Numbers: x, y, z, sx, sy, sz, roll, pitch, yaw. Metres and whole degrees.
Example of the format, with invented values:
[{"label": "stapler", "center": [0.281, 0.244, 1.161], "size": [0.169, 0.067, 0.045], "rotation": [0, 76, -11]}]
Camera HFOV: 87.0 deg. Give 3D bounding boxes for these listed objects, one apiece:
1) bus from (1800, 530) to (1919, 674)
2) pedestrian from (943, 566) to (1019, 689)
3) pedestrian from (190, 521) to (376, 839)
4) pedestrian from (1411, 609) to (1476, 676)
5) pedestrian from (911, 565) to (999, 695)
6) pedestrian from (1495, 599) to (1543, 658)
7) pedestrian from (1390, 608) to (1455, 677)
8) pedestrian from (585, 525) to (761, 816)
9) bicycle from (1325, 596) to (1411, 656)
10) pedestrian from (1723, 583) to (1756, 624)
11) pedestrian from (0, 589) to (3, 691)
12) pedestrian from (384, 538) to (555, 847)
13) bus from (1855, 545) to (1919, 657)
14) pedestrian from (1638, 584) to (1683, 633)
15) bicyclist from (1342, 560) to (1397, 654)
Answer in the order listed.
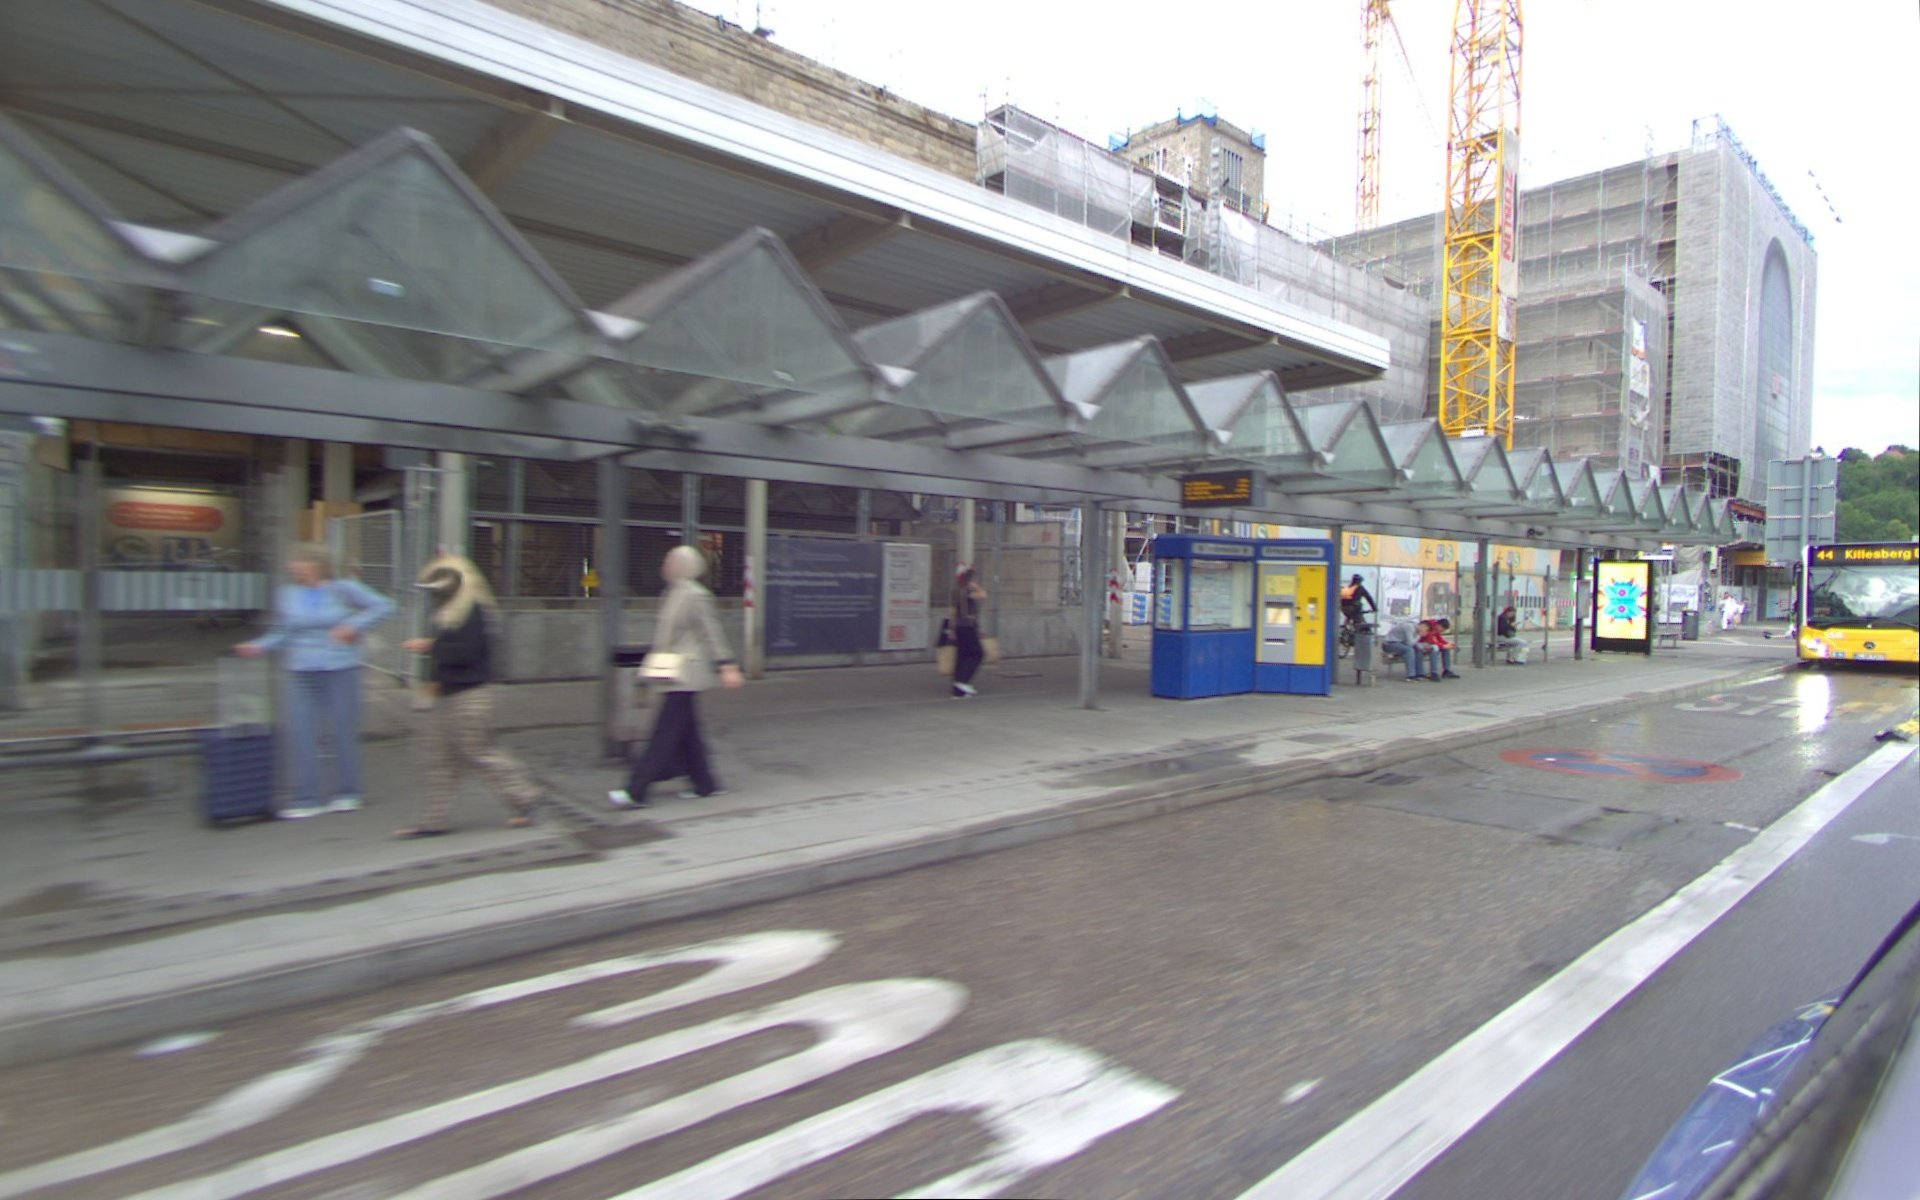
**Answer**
[{"label": "bus", "center": [23.585, 0.018, 25.297], "size": [8.839, 3.104, 2.759], "rotation": [0, 1, -42]}, {"label": "pedestrian", "center": [0.288, 0.357, 14.012], "size": [0.717, 1.627, 0.708], "rotation": [1, 2, -41]}, {"label": "pedestrian", "center": [-3.963, 0.420, 5.918], "size": [0.790, 1.681, 0.809], "rotation": [1, 0, -41]}, {"label": "pedestrian", "center": [8.255, 0.707, 17.270], "size": [0.794, 1.078, 0.729], "rotation": [1, 1, -41]}, {"label": "pedestrian", "center": [-0.068, 0.374, 13.228], "size": [0.731, 1.627, 0.908], "rotation": [1, -1, -40]}, {"label": "pedestrian", "center": [11.723, 0.585, 21.240], "size": [0.654, 1.201, 0.666], "rotation": [1, 1, -41]}, {"label": "pedestrian", "center": [7.651, 0.690, 16.744], "size": [0.696, 1.078, 0.729], "rotation": [1, 1, -41]}, {"label": "pedestrian", "center": [-1.849, 0.402, 6.504], "size": [0.808, 1.714, 0.764], "rotation": [1, 1, -42]}, {"label": "bicycle", "center": [9.000, 0.551, 22.282], "size": [2.365, 1.213, 0.815], "rotation": [0, 2, -44]}, {"label": "pedestrian", "center": [36.120, 0.158, 46.904], "size": [0.943, 1.877, 1.027], "rotation": [1, -1, -40]}, {"label": "pedestrian", "center": [-5.951, 0.555, 5.639], "size": [0.826, 1.246, 0.915], "rotation": [1, -1, -41]}, {"label": "pedestrian", "center": [-2.719, 0.467, 5.612], "size": [0.716, 1.585, 0.522], "rotation": [1, 1, -42]}, {"label": "bus", "center": [30.166, 0.013, 31.293], "size": [8.924, 3.107, 2.759], "rotation": [0, 1, -42]}, {"label": "pedestrian", "center": [23.917, 0.286, 34.560], "size": [0.811, 1.655, 0.911], "rotation": [1, 1, -15]}, {"label": "bicyclist", "center": [9.013, 0.135, 22.276], "size": [0.804, 2.006, 0.823], "rotation": [1, 1, -43]}]
